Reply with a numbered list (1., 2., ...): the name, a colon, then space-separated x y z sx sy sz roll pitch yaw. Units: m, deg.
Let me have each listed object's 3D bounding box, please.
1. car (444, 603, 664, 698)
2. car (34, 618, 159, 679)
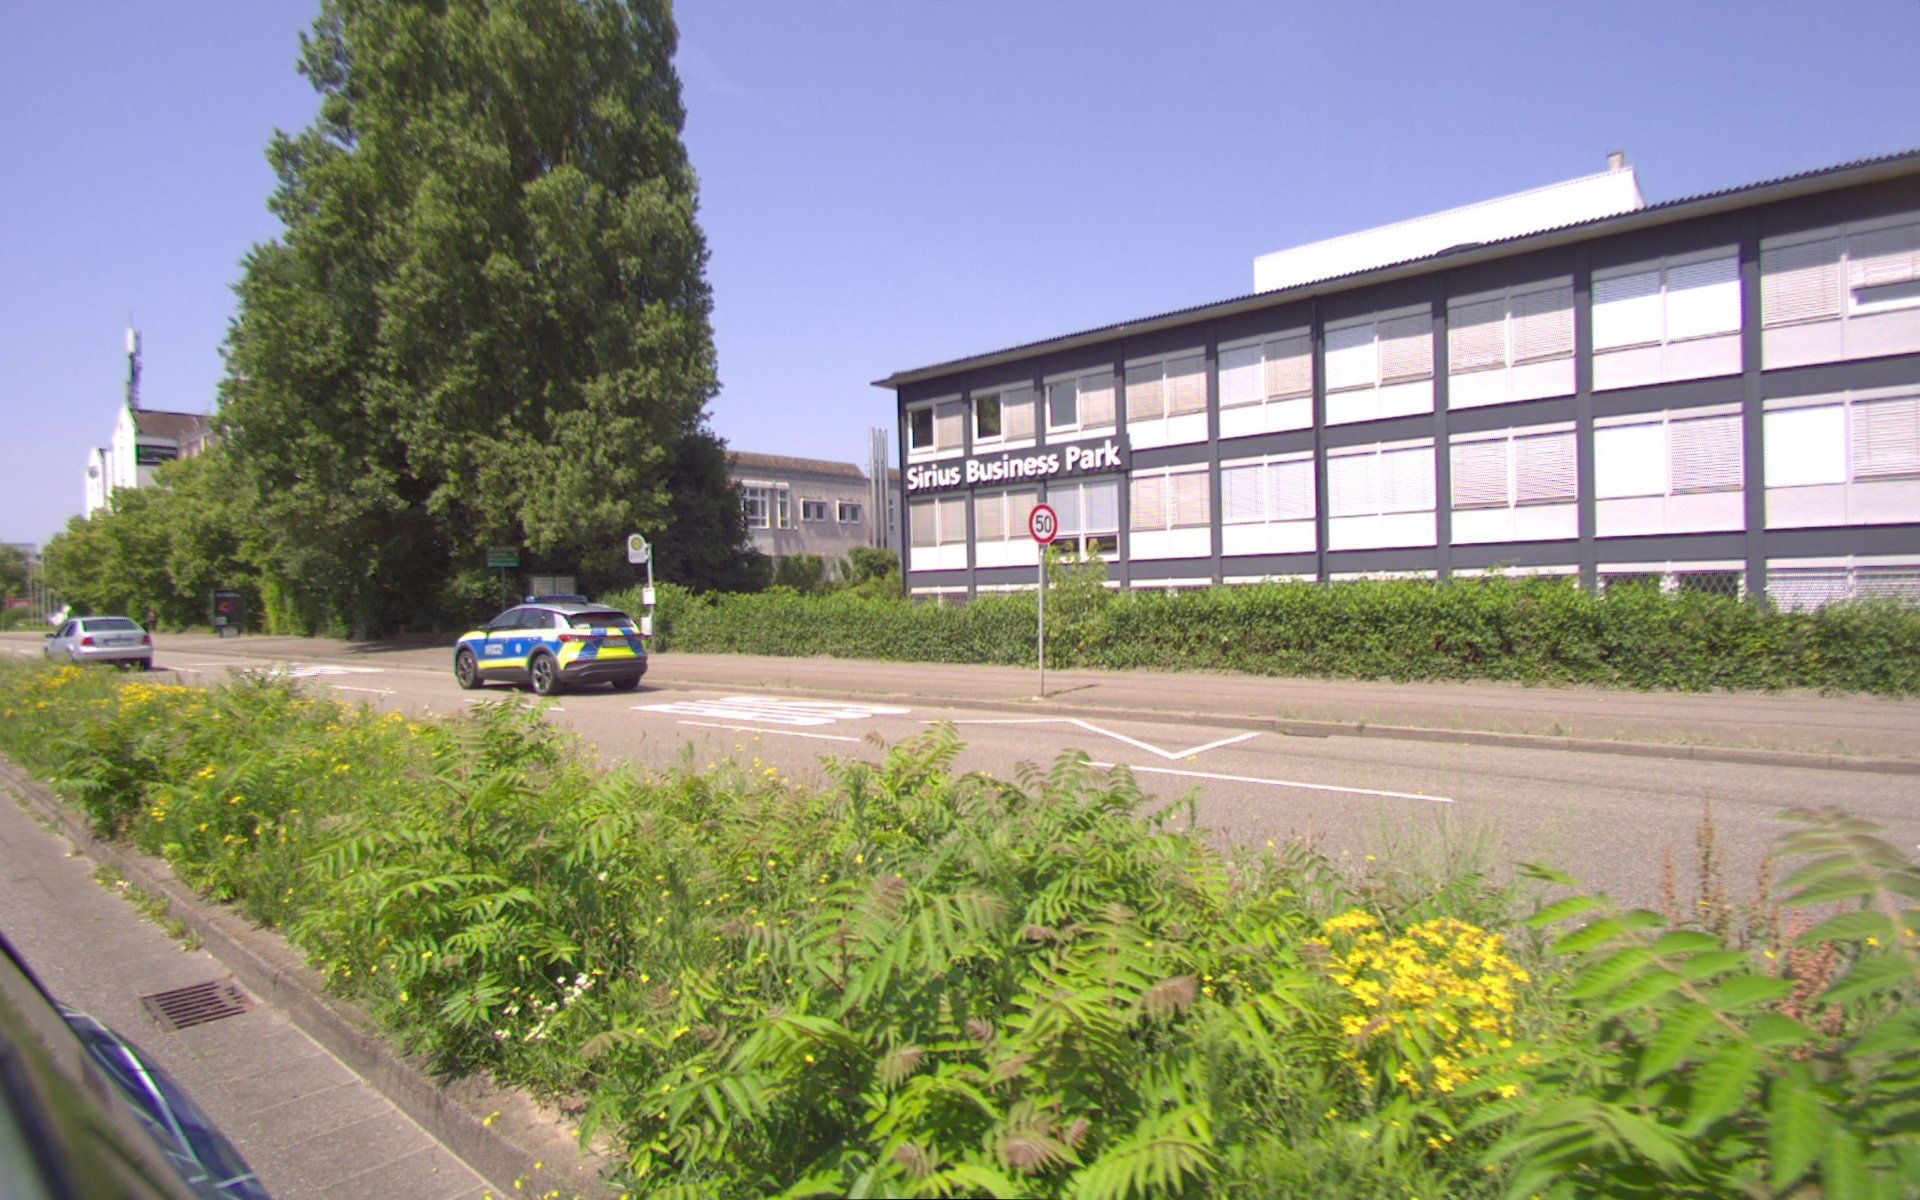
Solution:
1. car: -7.621 0.869 18.864 4.279 1.572 1.876 -1 -1 37
2. car: -22.884 1.229 26.767 4.086 1.429 1.742 0 0 38
